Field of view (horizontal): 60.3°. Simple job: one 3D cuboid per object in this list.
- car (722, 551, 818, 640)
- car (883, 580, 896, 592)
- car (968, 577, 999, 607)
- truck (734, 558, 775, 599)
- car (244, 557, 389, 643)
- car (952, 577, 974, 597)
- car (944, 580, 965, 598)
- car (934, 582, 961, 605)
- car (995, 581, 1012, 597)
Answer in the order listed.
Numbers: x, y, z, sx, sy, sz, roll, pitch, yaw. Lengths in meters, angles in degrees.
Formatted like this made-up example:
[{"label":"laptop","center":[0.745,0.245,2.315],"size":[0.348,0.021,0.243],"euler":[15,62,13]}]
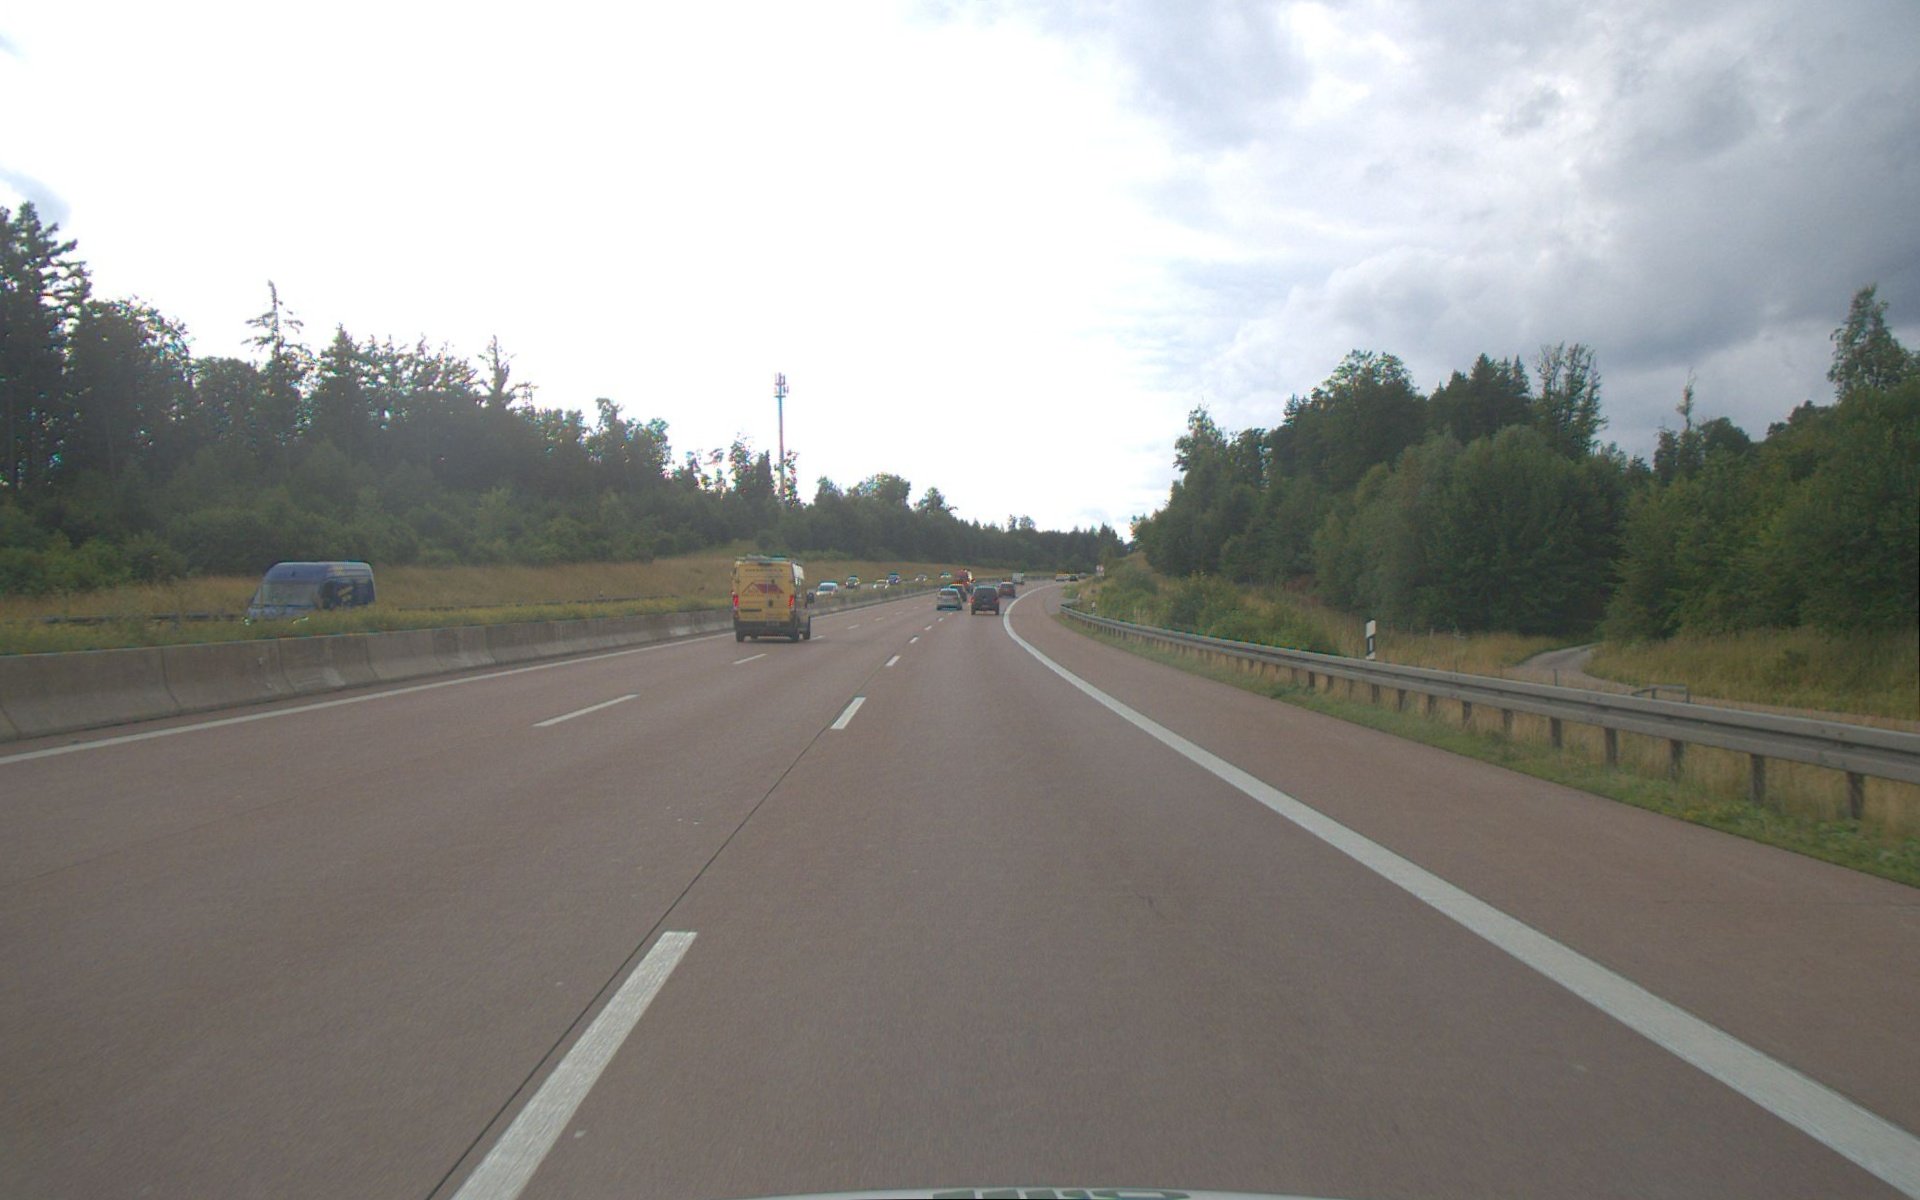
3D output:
[{"label":"car","center":[-6.199,-0.127,54.678],"size":[2.408,2.754,5.614],"euler":[0,0,1]},{"label":"car","center":[-10.548,-2.139,248.986],"size":[1.726,1.667,4.380],"euler":[1,-1,0]},{"label":"car","center":[1.526,-0.538,110.385],"size":[2.002,1.930,5.577],"euler":[0,0,0]},{"label":"truck","center":[-19.055,-1.940,153.813],"size":[2.950,3.645,6.057],"euler":[1,-1,1]},{"label":"car","center":[-18.517,-0.021,47.958],"size":[1.953,2.281,6.039],"euler":[1,0,-1]},{"label":"car","center":[0.386,-1.613,207.711],"size":[2.193,2.472,6.208],"euler":[2,0,5]},{"label":"car","center":[-0.529,-1.087,159.766],"size":[1.937,1.677,4.619],"euler":[0,0,1]},{"label":"car","center":[-0.897,-0.499,123.883],"size":[1.937,1.677,4.619],"euler":[0,0,0]},{"label":"car","center":[4.792,-1.232,182.860],"size":[1.937,1.677,4.619],"euler":[0,0,1]}]
